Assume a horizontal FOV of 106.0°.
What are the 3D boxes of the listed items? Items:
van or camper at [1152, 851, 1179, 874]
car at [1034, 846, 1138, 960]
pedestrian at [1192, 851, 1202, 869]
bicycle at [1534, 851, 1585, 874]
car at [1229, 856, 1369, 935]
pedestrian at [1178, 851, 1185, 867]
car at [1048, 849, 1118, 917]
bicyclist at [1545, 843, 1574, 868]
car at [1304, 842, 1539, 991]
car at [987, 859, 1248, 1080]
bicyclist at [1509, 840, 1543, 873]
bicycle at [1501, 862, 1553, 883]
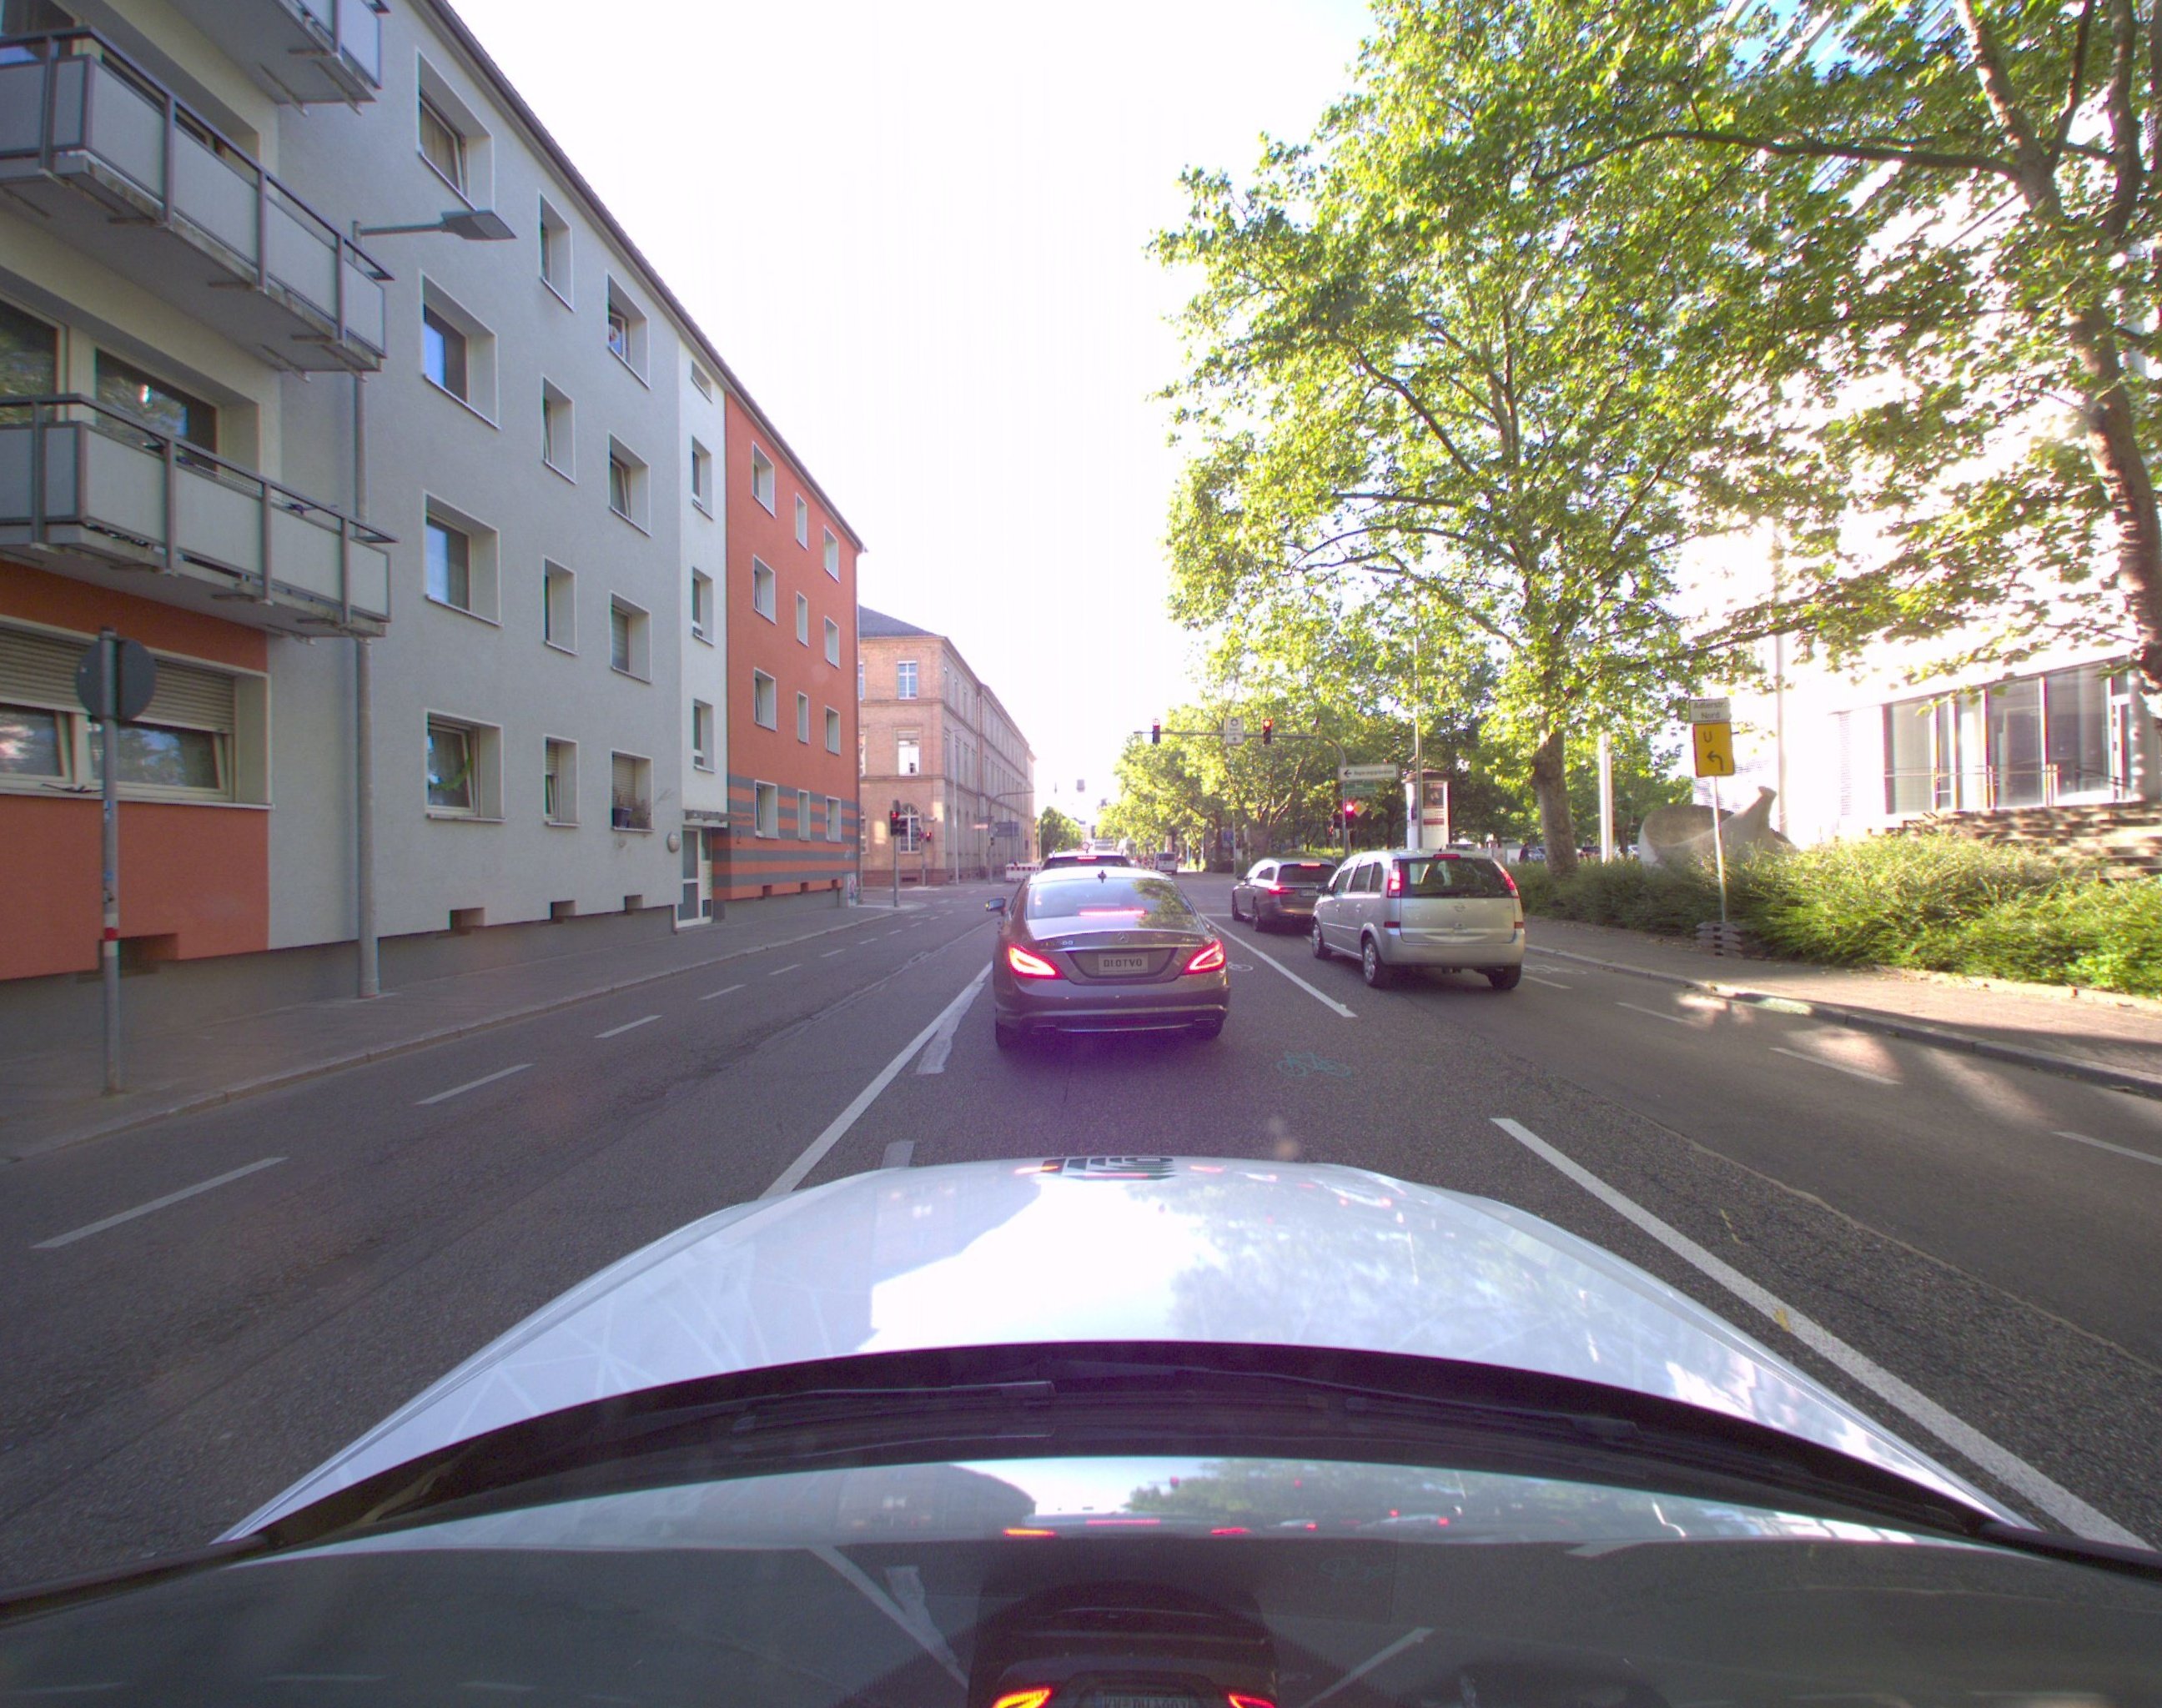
[{"bbox_3d":[7.312,0.712,70.786,1.986,1.941,4.596,-1,0,2],"label":"van or camper"},{"bbox_3d":[0.070,0.709,13.819,1.513,1.647,3.879,-1,0,0],"label":"car"},{"bbox_3d":[10.421,0.566,73.060,0.827,1.606,0.652,-1,0,1],"label":"pedestrian"},{"bbox_3d":[22.303,0.411,37.974,1.972,1.027,0.652,-1,0,2],"label":"bicycle"},{"bbox_3d":[4.467,0.773,17.464,1.905,1.464,4.671,0,0,2],"label":"car"},{"bbox_3d":[11.221,0.565,90.946,0.601,1.821,0.652,-1,0,1],"label":"pedestrian"},{"bbox_3d":[0.126,0.767,23.375,1.813,1.762,4.002,-1,0,2],"label":"car"},{"bbox_3d":[22.315,0.067,37.969,0.987,1.154,0.621,-1,0,3],"label":"bicyclist"},{"bbox_3d":[4.206,0.679,10.741,1.694,1.603,3.863,-1,0,4],"label":"car"},{"bbox_3d":[0.076,0.795,7.782,1.801,1.456,4.342,-1,0,-5],"label":"car"},{"bbox_3d":[20.277,0.118,37.120,1.113,1.490,0.712,-1,0,1],"label":"bicyclist"},{"bbox_3d":[20.310,0.835,37.111,1.979,0.903,0.734,-1,0,0],"label":"bicycle"}]
